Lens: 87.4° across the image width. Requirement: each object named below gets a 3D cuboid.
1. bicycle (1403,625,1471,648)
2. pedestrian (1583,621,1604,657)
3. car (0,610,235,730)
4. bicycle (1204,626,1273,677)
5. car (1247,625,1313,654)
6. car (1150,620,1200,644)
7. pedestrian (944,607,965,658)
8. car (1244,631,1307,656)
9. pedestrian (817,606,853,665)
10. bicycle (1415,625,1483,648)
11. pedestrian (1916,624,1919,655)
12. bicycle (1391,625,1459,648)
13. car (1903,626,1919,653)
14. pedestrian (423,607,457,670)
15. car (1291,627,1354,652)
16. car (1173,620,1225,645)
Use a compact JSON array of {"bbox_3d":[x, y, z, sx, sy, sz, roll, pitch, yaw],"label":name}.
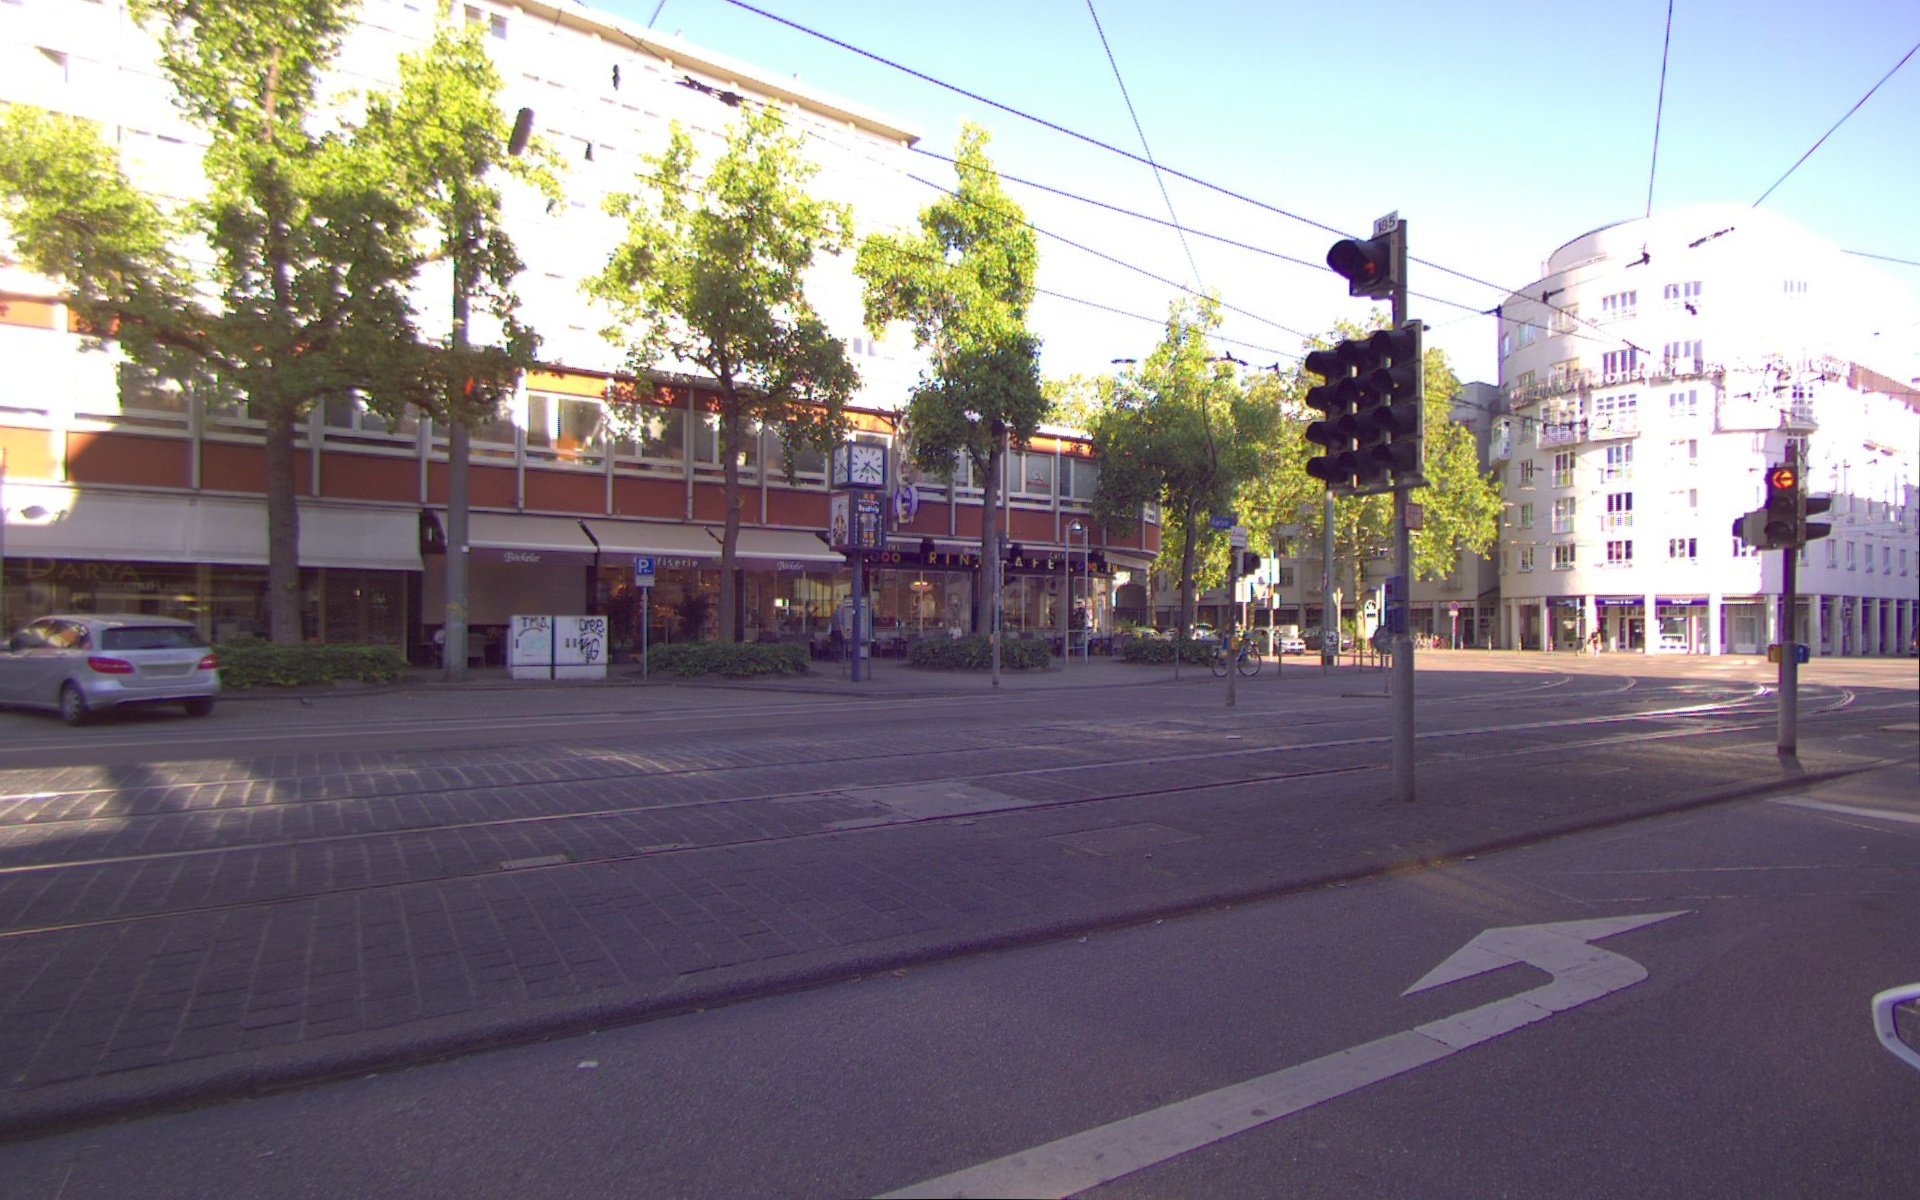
[{"bbox_3d":[33.922,2.560,71.590,1.053,1.550,4.684,1,-2,-29],"label":"bicycle"},{"bbox_3d":[36.287,2.235,57.548,0.930,2.040,0.939,0,-1,30],"label":"pedestrian"},{"bbox_3d":[-13.574,1.009,15.742,4.200,1.587,1.825,1,-1,26],"label":"car"},{"bbox_3d":[7.650,1.395,27.543,1.884,1.345,0.667,1,2,-30],"label":"bicycle"},{"bbox_3d":[18.678,2.290,58.811,1.605,1.579,4.001,0,-2,-19],"label":"car"},{"bbox_3d":[18.375,2.721,85.924,3.954,1.990,1.984,1,-1,-31],"label":"car"},{"bbox_3d":[-0.196,1.130,34.972,0.590,1.745,0.647,0,1,-14],"label":"pedestrian"},{"bbox_3d":[16.814,2.301,53.697,1.738,1.312,4.014,0,-2,-7],"label":"car"},{"bbox_3d":[-3.823,1.062,30.639,0.866,1.745,0.700,0,1,-34],"label":"pedestrian"},{"bbox_3d":[35.214,2.600,72.418,1.053,1.550,4.684,1,-2,-29],"label":"bicycle"},{"bbox_3d":[53.393,2.185,55.679,0.482,1.704,0.519,1,-1,-40],"label":"pedestrian"},{"bbox_3d":[32.891,2.554,71.126,1.053,1.550,4.684,1,-2,-29],"label":"bicycle"},{"bbox_3d":[58.357,2.381,60.290,3.423,1.566,1.756,1,-2,-32],"label":"car"},{"bbox_3d":[-13.416,0.987,25.913,0.699,1.584,0.867,1,-1,-33],"label":"pedestrian"},{"bbox_3d":[24.108,2.599,66.927,1.595,1.551,3.972,0,-1,-27],"label":"car"},{"bbox_3d":[19.857,2.681,83.414,3.954,1.990,1.984,1,-1,-31],"label":"car"}]
